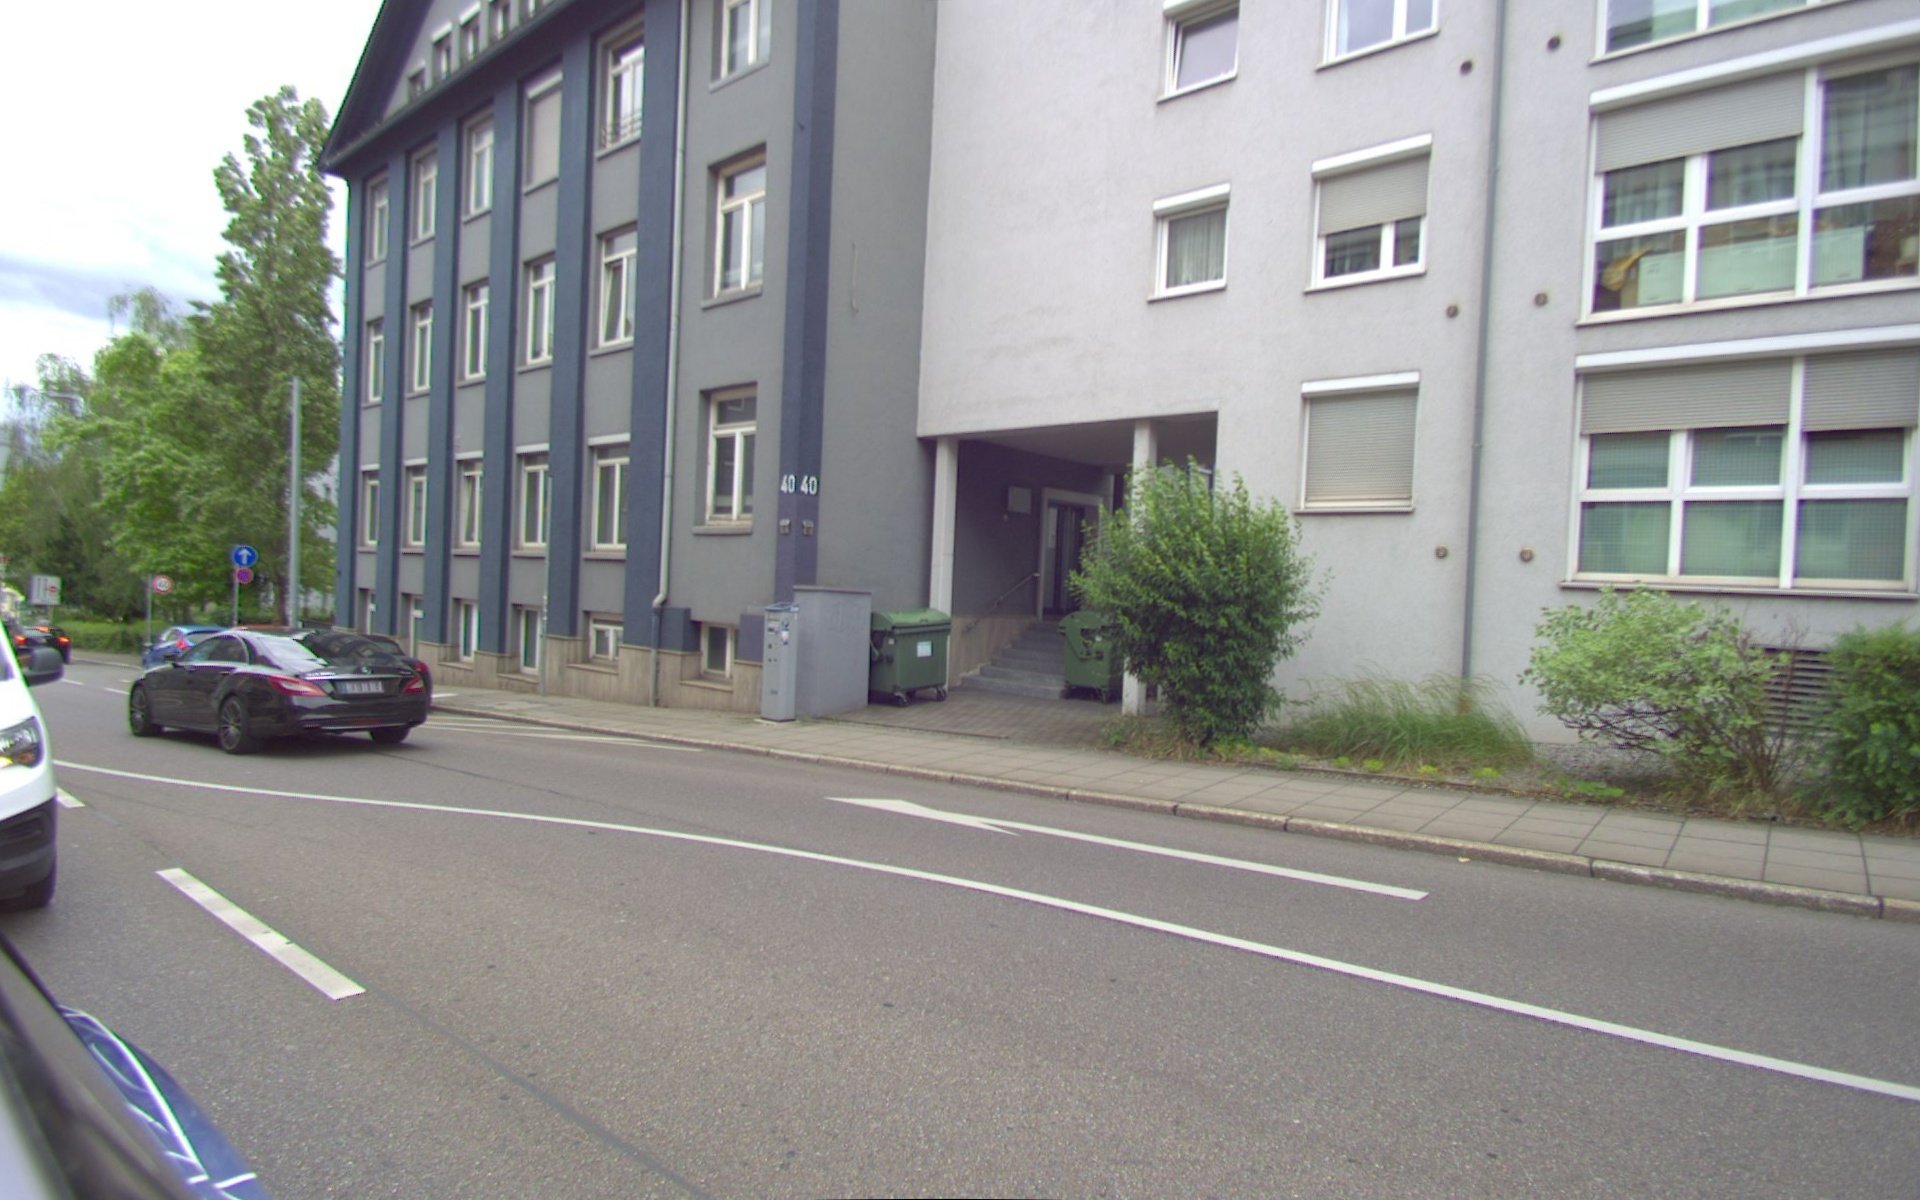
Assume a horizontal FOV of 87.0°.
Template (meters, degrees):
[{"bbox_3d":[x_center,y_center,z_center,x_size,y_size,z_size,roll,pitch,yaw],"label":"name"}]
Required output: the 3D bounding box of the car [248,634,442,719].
[{"bbox_3d":[-11.053,1.314,18.091,4.038,1.337,1.702,-1,-4,40],"label":"car"}]

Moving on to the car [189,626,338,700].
[{"bbox_3d":[-15.296,1.347,22.165,3.868,1.485,1.796,-2,-4,42],"label":"car"}]

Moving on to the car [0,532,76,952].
[{"bbox_3d":[-6.457,0.665,5.544,4.937,1.821,1.816,-1,0,42],"label":"car"}]

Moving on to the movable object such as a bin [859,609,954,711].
[{"bbox_3d":[-0.825,0.891,15.654,0.784,1.467,1.251,0,1,44],"label":"movable object such as a bin"}]

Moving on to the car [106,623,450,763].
[{"bbox_3d":[-8.495,1.040,12.482,4.656,1.429,1.771,-1,-4,33],"label":"car"}]

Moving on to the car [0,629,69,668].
[{"bbox_3d":[-35.772,1.855,38.976,3.793,1.411,1.655,-1,-4,41],"label":"car"}]

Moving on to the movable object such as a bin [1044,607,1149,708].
[{"bbox_3d":[2.242,0.914,16.622,1.190,1.489,1.132,5,2,41],"label":"movable object such as a bin"}]

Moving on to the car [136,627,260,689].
[{"bbox_3d":[-19.416,1.433,25.749,3.724,1.465,1.702,-1,-3,40],"label":"car"}]

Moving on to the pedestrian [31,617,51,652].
[{"bbox_3d":[-50.187,1.874,55.291,0.776,1.864,0.736,-2,-1,42],"label":"pedestrian"}]
